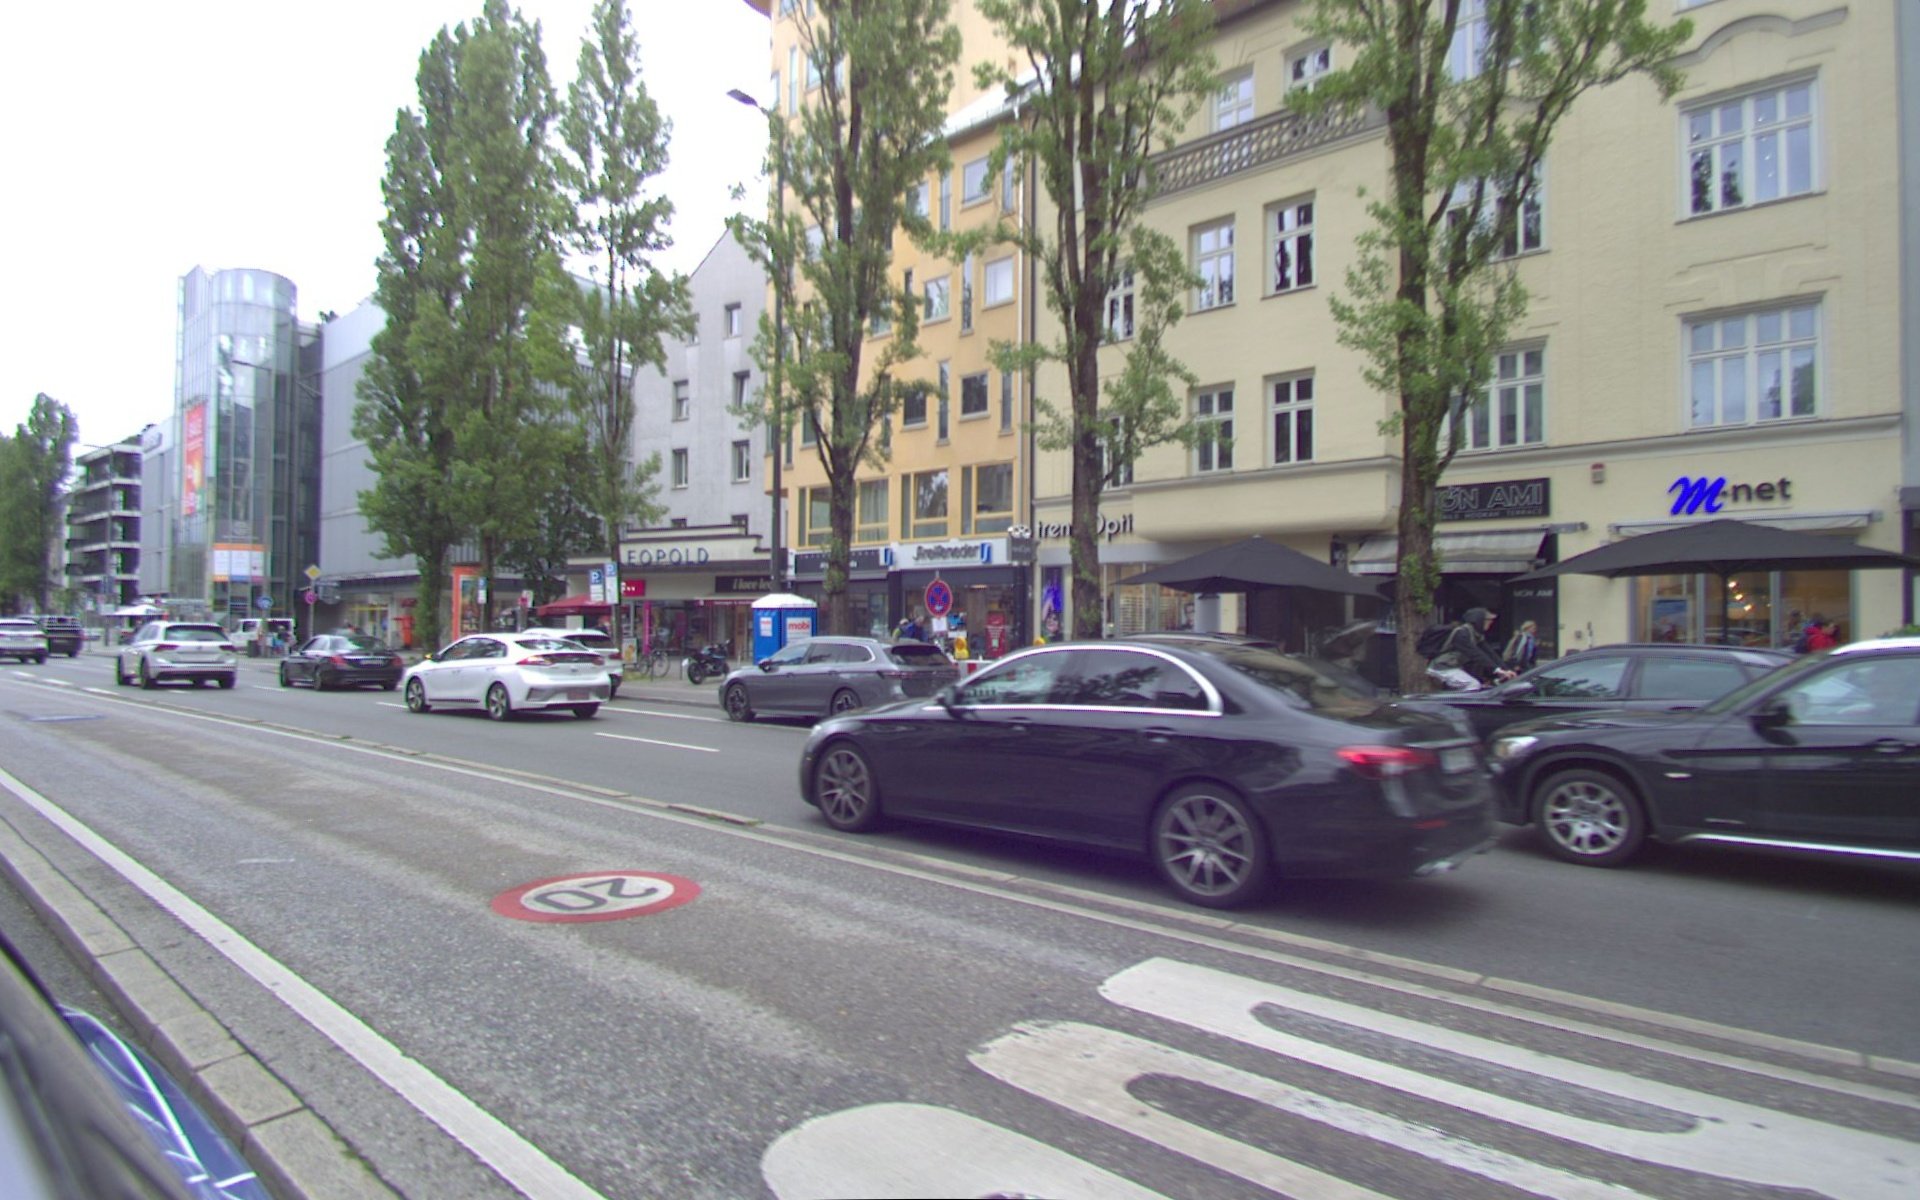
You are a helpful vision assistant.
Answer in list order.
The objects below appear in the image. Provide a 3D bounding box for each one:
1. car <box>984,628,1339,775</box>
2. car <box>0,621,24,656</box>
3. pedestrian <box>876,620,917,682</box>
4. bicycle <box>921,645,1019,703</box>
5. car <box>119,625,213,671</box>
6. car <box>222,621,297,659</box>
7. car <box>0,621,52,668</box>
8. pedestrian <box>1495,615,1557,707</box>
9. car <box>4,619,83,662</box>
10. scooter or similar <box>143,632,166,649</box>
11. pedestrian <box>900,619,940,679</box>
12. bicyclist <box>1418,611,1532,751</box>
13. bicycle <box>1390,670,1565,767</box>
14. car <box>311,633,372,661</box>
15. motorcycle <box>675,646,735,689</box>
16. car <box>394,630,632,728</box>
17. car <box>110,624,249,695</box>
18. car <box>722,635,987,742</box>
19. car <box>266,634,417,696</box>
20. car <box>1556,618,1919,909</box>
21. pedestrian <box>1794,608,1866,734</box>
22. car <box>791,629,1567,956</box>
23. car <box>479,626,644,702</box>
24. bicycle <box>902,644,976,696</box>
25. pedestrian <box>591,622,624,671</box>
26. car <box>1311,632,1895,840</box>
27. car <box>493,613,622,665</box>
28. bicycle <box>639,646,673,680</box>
[{"bbox_3d":[2.389,1.136,12.592,3.999,1.530,1.785,-1,-3,42],"label":"car"},{"bbox_3d":[-58.738,2.296,61.036,5.303,2.029,1.978,-1,-3,32],"label":"car"},{"bbox_3d":[-1.738,1.379,27.845,0.763,1.638,0.831,0,0,40],"label":"pedestrian"},{"bbox_3d":[0.222,1.491,20.547,2.097,1.109,0.506,3,-3,-35],"label":"bicycle"},{"bbox_3d":[-30.590,1.811,38.946,4.634,1.664,1.972,-1,-4,41],"label":"car"},{"bbox_3d":[-38.662,2.198,55.840,5.106,2.029,1.974,-1,-3,39],"label":"car"},{"bbox_3d":[-36.361,1.676,38.496,4.528,1.724,1.843,-1,-3,37],"label":"car"},{"bbox_3d":[10.045,1.068,17.959,0.816,1.573,0.627,-2,-3,43],"label":"pedestrian"},{"bbox_3d":[-42.799,1.887,47.223,5.708,1.878,1.973,-1,-4,41],"label":"car"},{"bbox_3d":[-54.468,2.745,68.415,1.366,1.148,0.366,0,-2,10],"label":"scooter or similar"},{"bbox_3d":[-1.132,1.359,28.453,0.763,1.638,0.831,0,0,40],"label":"pedestrian"},{"bbox_3d":[6.108,0.933,12.027,1.106,1.593,0.491,-1,-3,41],"label":"bicyclist"},{"bbox_3d":[6.102,1.368,12.002,1.766,1.014,0.504,-1,-3,41],"label":"bicycle"},{"bbox_3d":[-33.728,2.536,55.120,1.899,1.450,4.511,3,-3,-44],"label":"car"},{"bbox_3d":[-6.857,1.800,27.328,0.483,1.044,2.048,0,0,21],"label":"motorcycle"},{"bbox_3d":[-7.943,1.306,17.858,4.286,1.505,1.922,-1,-3,36],"label":"car"},{"bbox_3d":[-19.783,1.446,25.592,4.461,1.655,1.919,-1,-3,41],"label":"car"},{"bbox_3d":[-1.815,1.342,16.581,4.293,1.505,1.919,-1,-3,41],"label":"car"},{"bbox_3d":[-15.959,1.610,26.019,4.534,1.445,1.920,-1,-3,40],"label":"car"},{"bbox_3d":[6.149,0.938,6.034,4.211,1.576,1.829,0,-2,42],"label":"car"},{"bbox_3d":[12.590,1.005,14.653,0.755,1.760,0.533,-1,-2,42],"label":"pedestrian"},{"bbox_3d":[1.159,0.944,6.837,4.770,1.443,1.972,-2,-4,42],"label":"car"},{"bbox_3d":[-9.564,1.465,24.150,4.382,1.642,1.971,-1,-3,43],"label":"car"},{"bbox_3d":[-0.421,1.478,21.704,0.621,1.049,1.992,-1,-3,31],"label":"bicycle"},{"bbox_3d":[-14.009,1.837,40.209,0.830,1.913,0.850,-1,-3,34],"label":"pedestrian"},{"bbox_3d":[5.804,1.066,9.509,4.319,1.494,1.972,-2,-4,43],"label":"car"},{"bbox_3d":[-21.414,2.077,54.078,5.973,2.625,2.178,3,-3,-44],"label":"car"},{"bbox_3d":[-9.298,1.912,30.932,1.478,0.983,0.289,-2,-3,42],"label":"bicycle"}]
